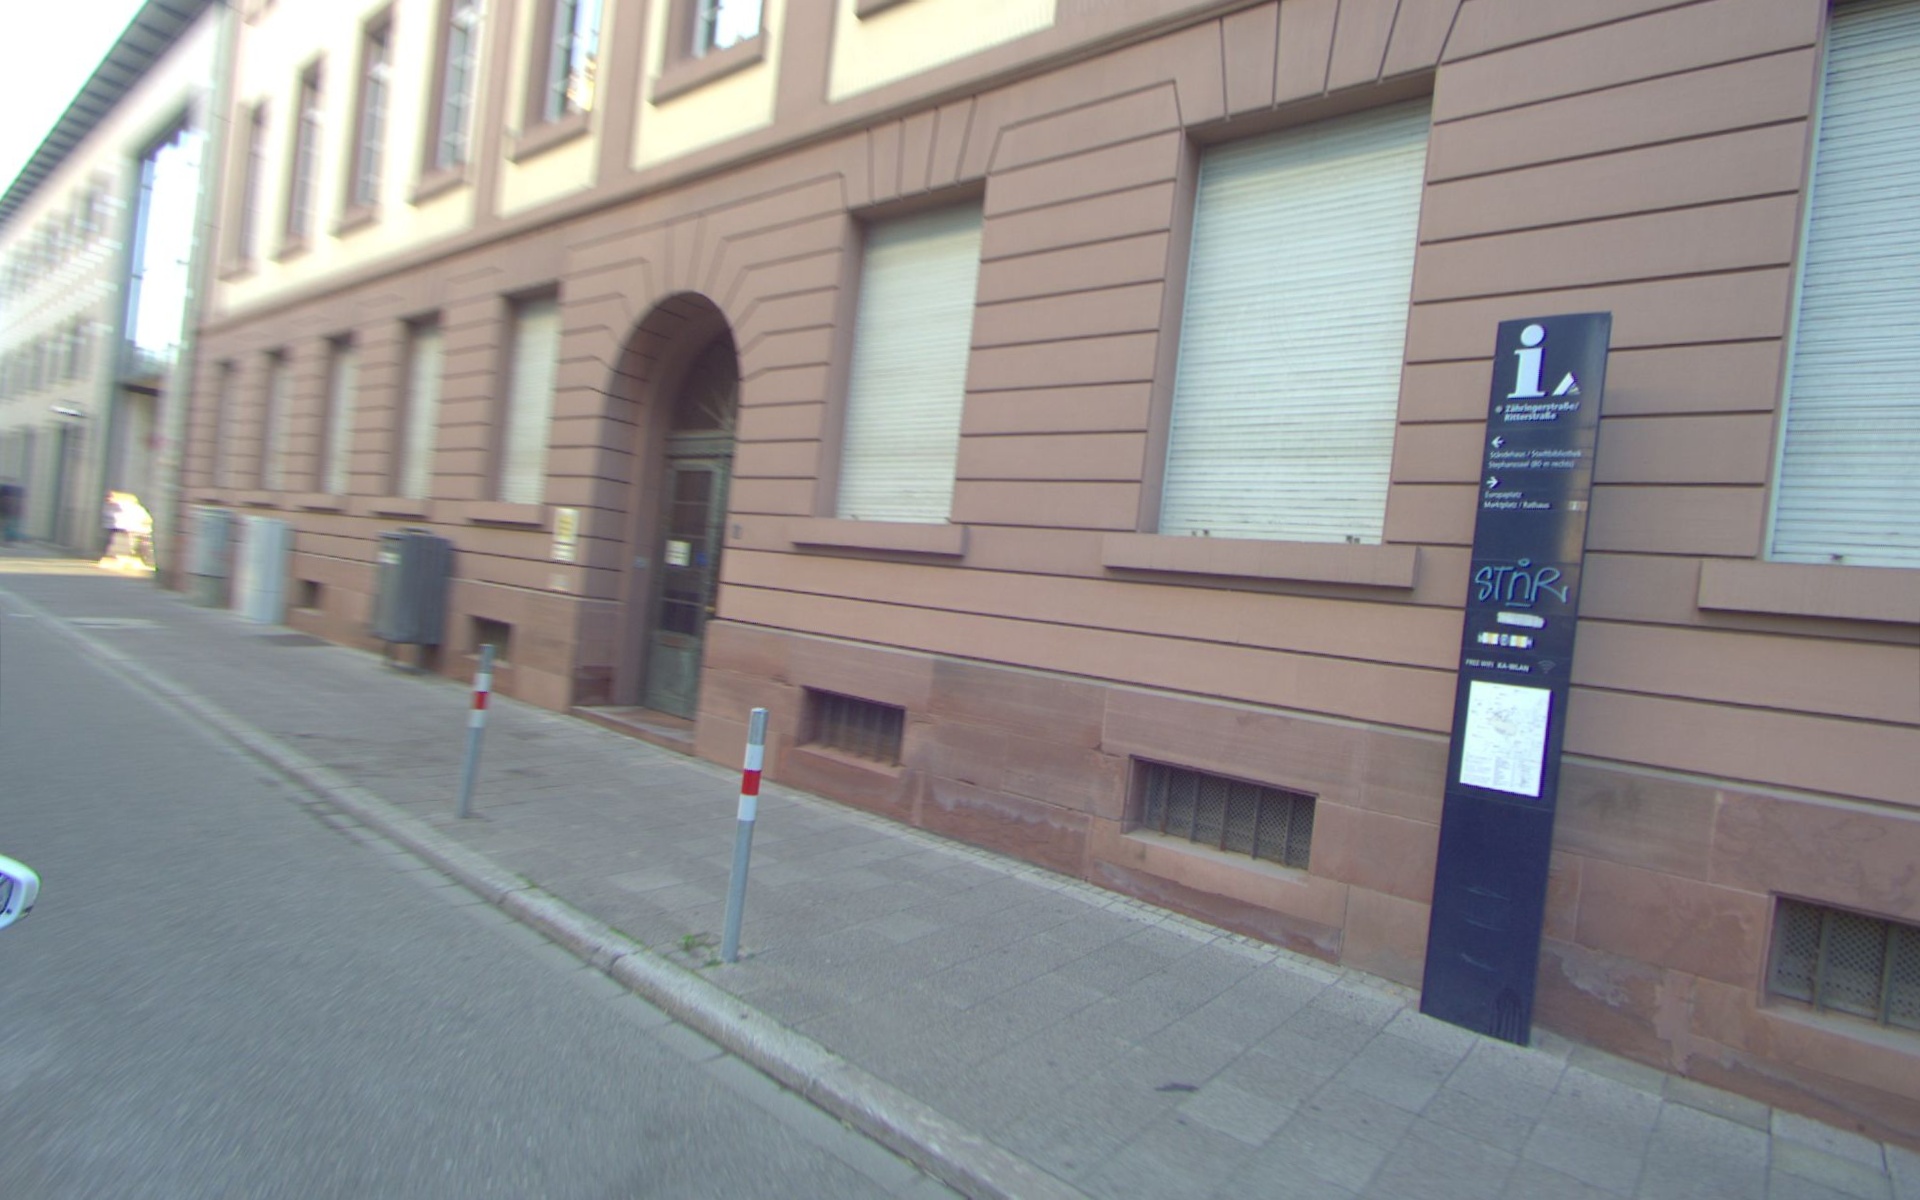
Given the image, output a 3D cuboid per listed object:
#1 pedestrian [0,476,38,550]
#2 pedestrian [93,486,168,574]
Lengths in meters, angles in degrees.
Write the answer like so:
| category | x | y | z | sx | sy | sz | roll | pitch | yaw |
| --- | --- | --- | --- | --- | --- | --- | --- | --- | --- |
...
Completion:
| category | x | y | z | sx | sy | sz | roll | pitch | yaw |
| --- | --- | --- | --- | --- | --- | --- | --- | --- | --- |
| pedestrian | -24.347 | -2.229 | 25.734 | 0.869 | 1.828 | 0.998 | 6 | 4 | 39 |
| pedestrian | -18.359 | -1.528 | 22.283 | 0.832 | 1.827 | 0.896 | 5 | 2 | 13 |
